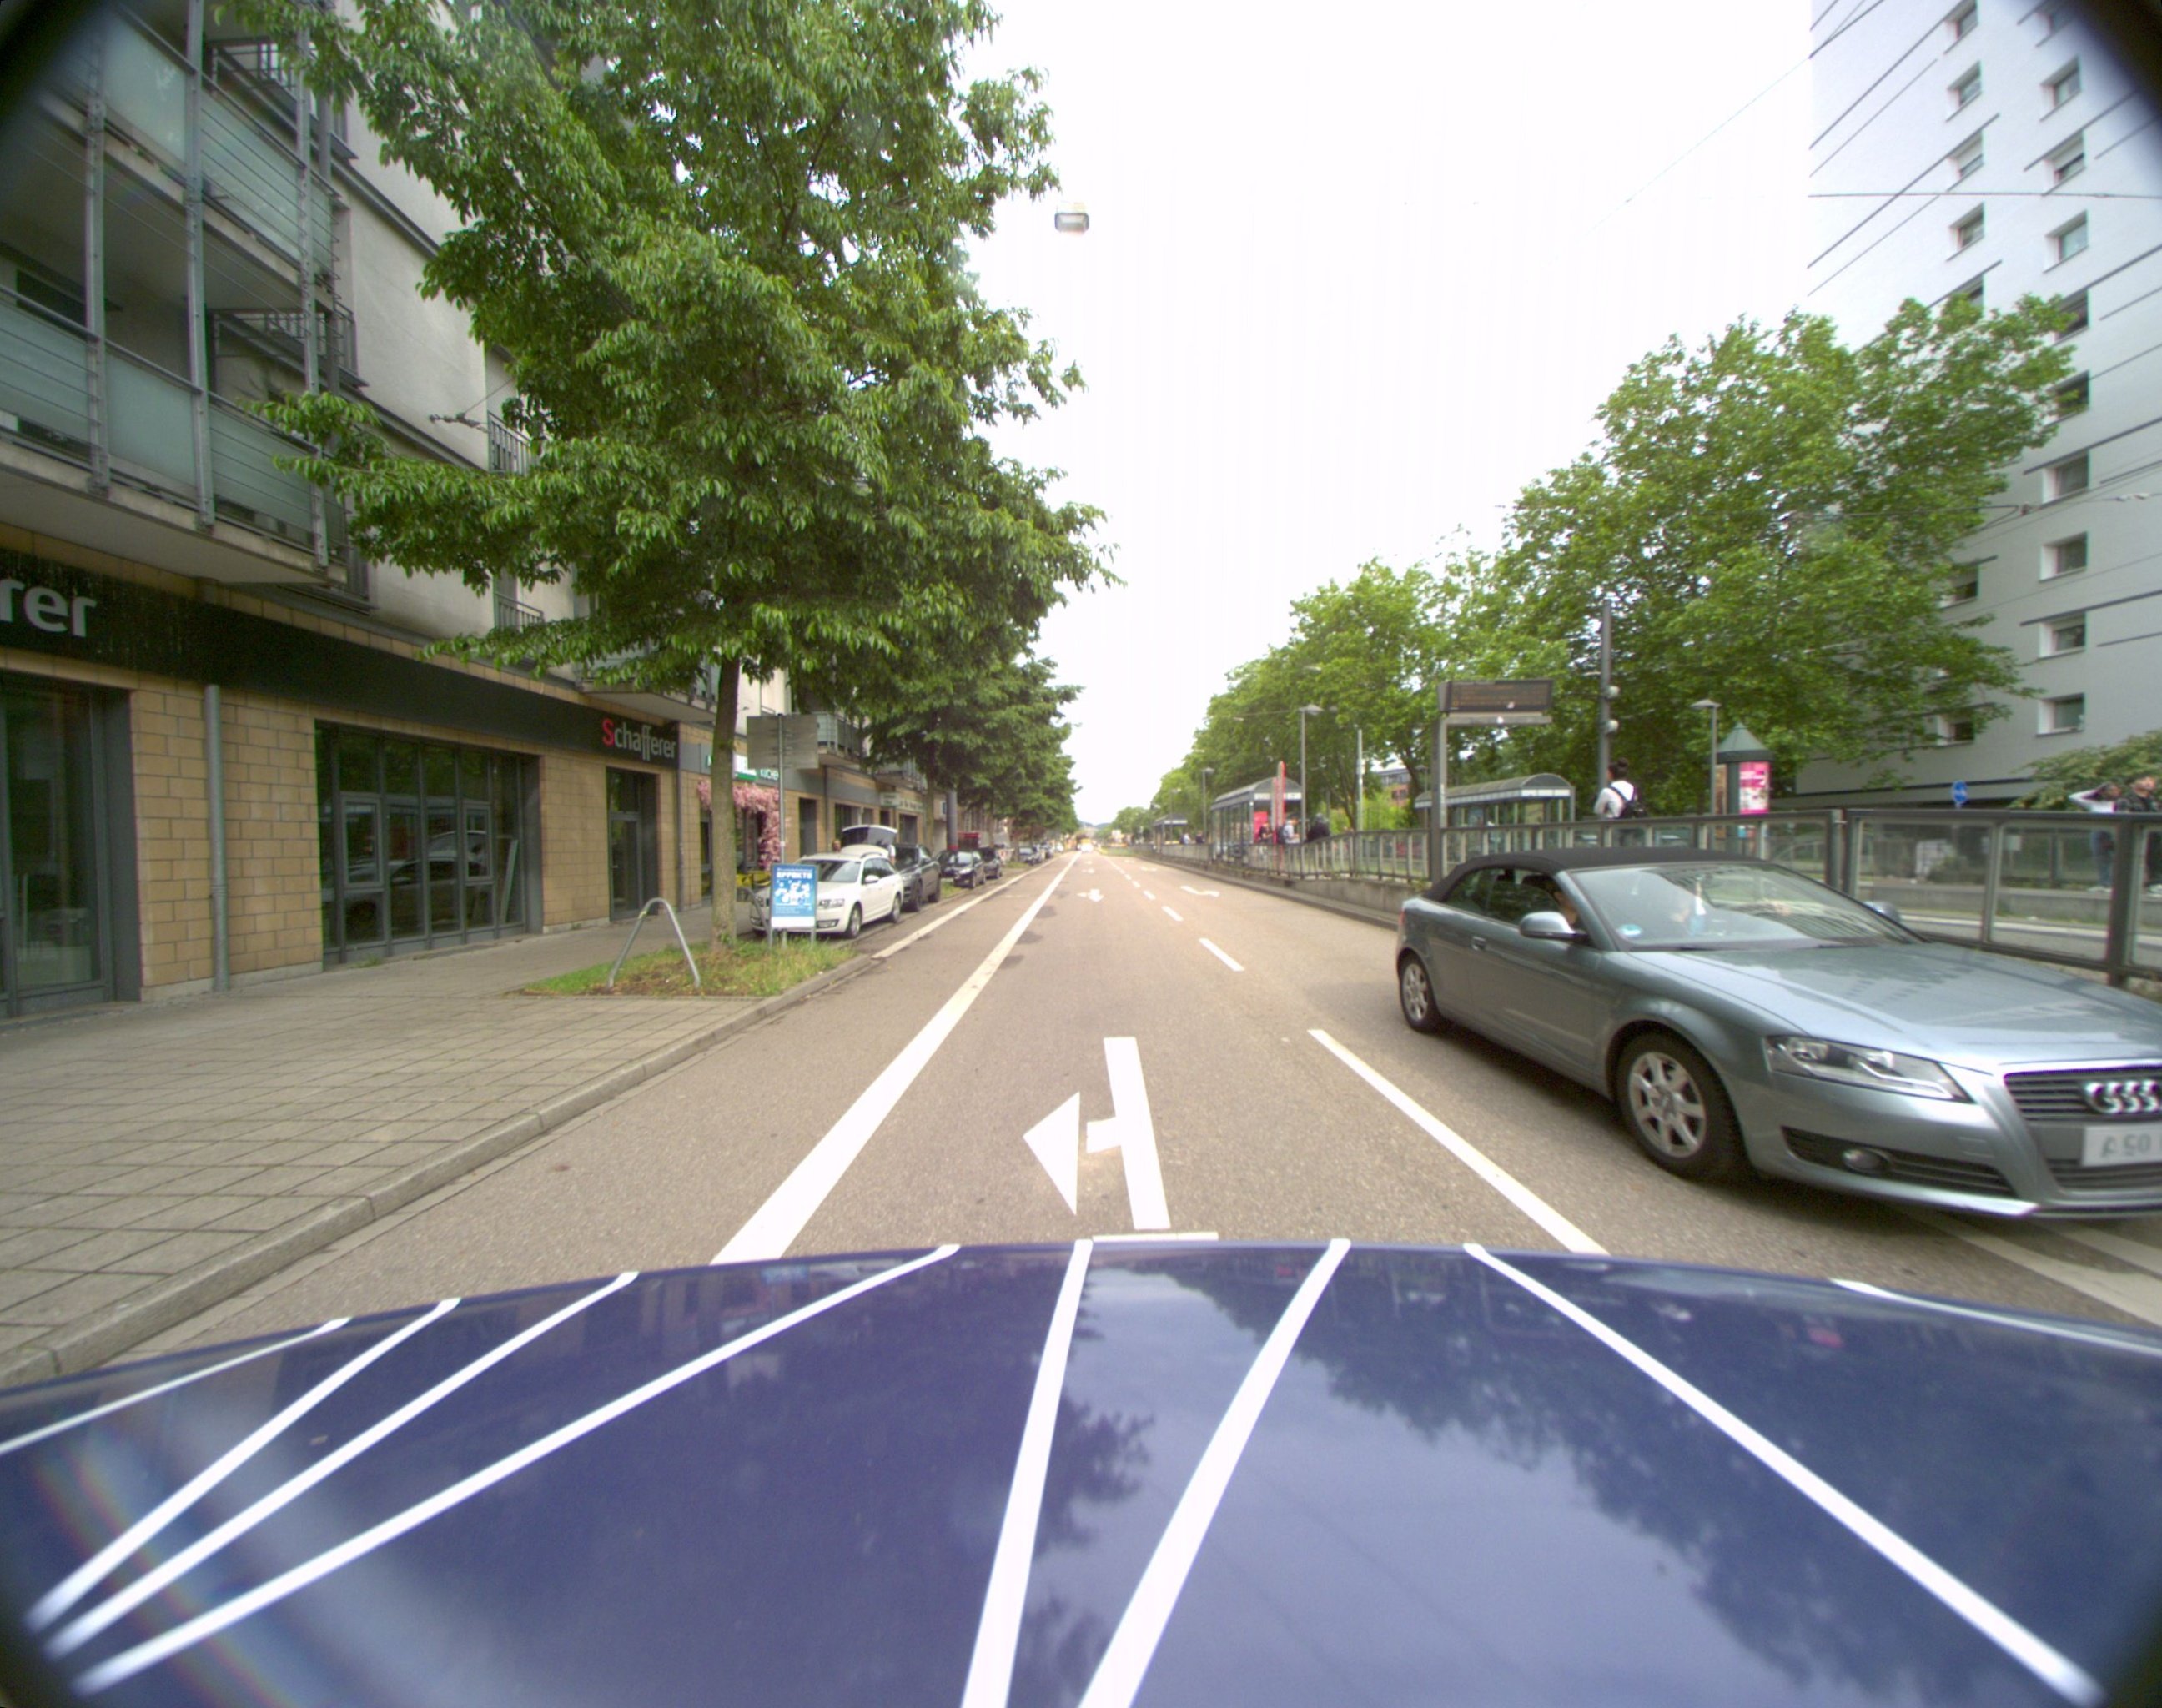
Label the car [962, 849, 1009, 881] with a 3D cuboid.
[{"bbox_3d":[-4.505,0.481,36.299,1.730,1.375,3.815,1,1,1],"label":"car"}]

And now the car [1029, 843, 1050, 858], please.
[{"bbox_3d":[-4.003,-0.397,74.128,1.730,1.375,3.815,1,1,1],"label":"car"}]

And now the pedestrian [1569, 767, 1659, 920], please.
[{"bbox_3d":[6.312,-0.122,9.014,0.662,1.741,0.534,-2,2,1],"label":"pedestrian"}]

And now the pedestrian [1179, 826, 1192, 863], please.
[{"bbox_3d":[5.934,-0.550,43.052,0.585,2.039,0.821,-2,2,4],"label":"pedestrian"}]

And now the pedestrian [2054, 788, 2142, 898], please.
[{"bbox_3d":[15.957,-0.175,11.932,0.622,1.659,0.565,-2,2,1],"label":"pedestrian"}]

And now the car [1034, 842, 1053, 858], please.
[{"bbox_3d":[-3.930,-0.446,79.824,1.730,1.675,3.815,1,1,1],"label":"car"}]

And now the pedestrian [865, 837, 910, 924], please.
[{"bbox_3d":[-4.362,0.589,17.155,0.652,1.922,0.643,-2,2,16],"label":"pedestrian"}]

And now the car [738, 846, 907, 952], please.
[{"bbox_3d":[-4.690,0.719,14.439,1.730,1.652,4.103,1,1,1],"label":"car"}]

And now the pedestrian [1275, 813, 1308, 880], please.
[{"bbox_3d":[5.812,-0.213,21.014,0.683,1.781,0.821,-2,2,4],"label":"pedestrian"}]

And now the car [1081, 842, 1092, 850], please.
[{"bbox_3d":[0.930,-1.451,131.418,1.865,1.339,3.815,1,1,1],"label":"car"}]

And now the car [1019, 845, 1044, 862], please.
[{"bbox_3d":[-4.118,-0.047,63.851,1.730,1.375,3.815,1,1,1],"label":"car"}]

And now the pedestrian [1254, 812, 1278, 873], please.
[{"bbox_3d":[6.279,-0.385,25.806,0.585,2.039,0.821,-2,2,4],"label":"pedestrian"}]

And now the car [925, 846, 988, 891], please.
[{"bbox_3d":[-4.600,0.493,28.557,1.684,1.536,3.942,1,1,1],"label":"car"}]

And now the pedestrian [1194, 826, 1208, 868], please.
[{"bbox_3d":[5.984,-0.349,37.880,0.585,2.039,0.821,-2,2,4],"label":"pedestrian"}]

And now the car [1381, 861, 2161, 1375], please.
[{"bbox_3d":[3.281,0.812,4.260,1.637,1.367,4.013,-2,1,1],"label":"car"}]

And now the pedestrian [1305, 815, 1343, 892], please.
[{"bbox_3d":[5.779,-0.020,18.089,0.661,1.781,0.535,-1,2,41],"label":"pedestrian"}]

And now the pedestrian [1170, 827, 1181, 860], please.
[{"bbox_3d":[5.960,-0.641,47.924,0.585,2.039,0.821,-2,2,4],"label":"pedestrian"}]

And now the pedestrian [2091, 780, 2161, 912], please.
[{"bbox_3d":[14.757,-0.121,10.599,0.622,1.779,0.534,-2,2,1],"label":"pedestrian"}]

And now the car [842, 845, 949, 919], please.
[{"bbox_3d":[-4.647,0.622,19.544,1.730,1.652,3.942,1,1,1],"label":"car"}]

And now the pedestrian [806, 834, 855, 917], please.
[{"bbox_3d":[-5.623,0.457,17.081,0.745,1.795,0.839,-2,2,0],"label":"pedestrian"}]

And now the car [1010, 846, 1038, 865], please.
[{"bbox_3d":[-4.259,0.069,57.462,1.730,1.375,3.815,1,1,1],"label":"car"}]
